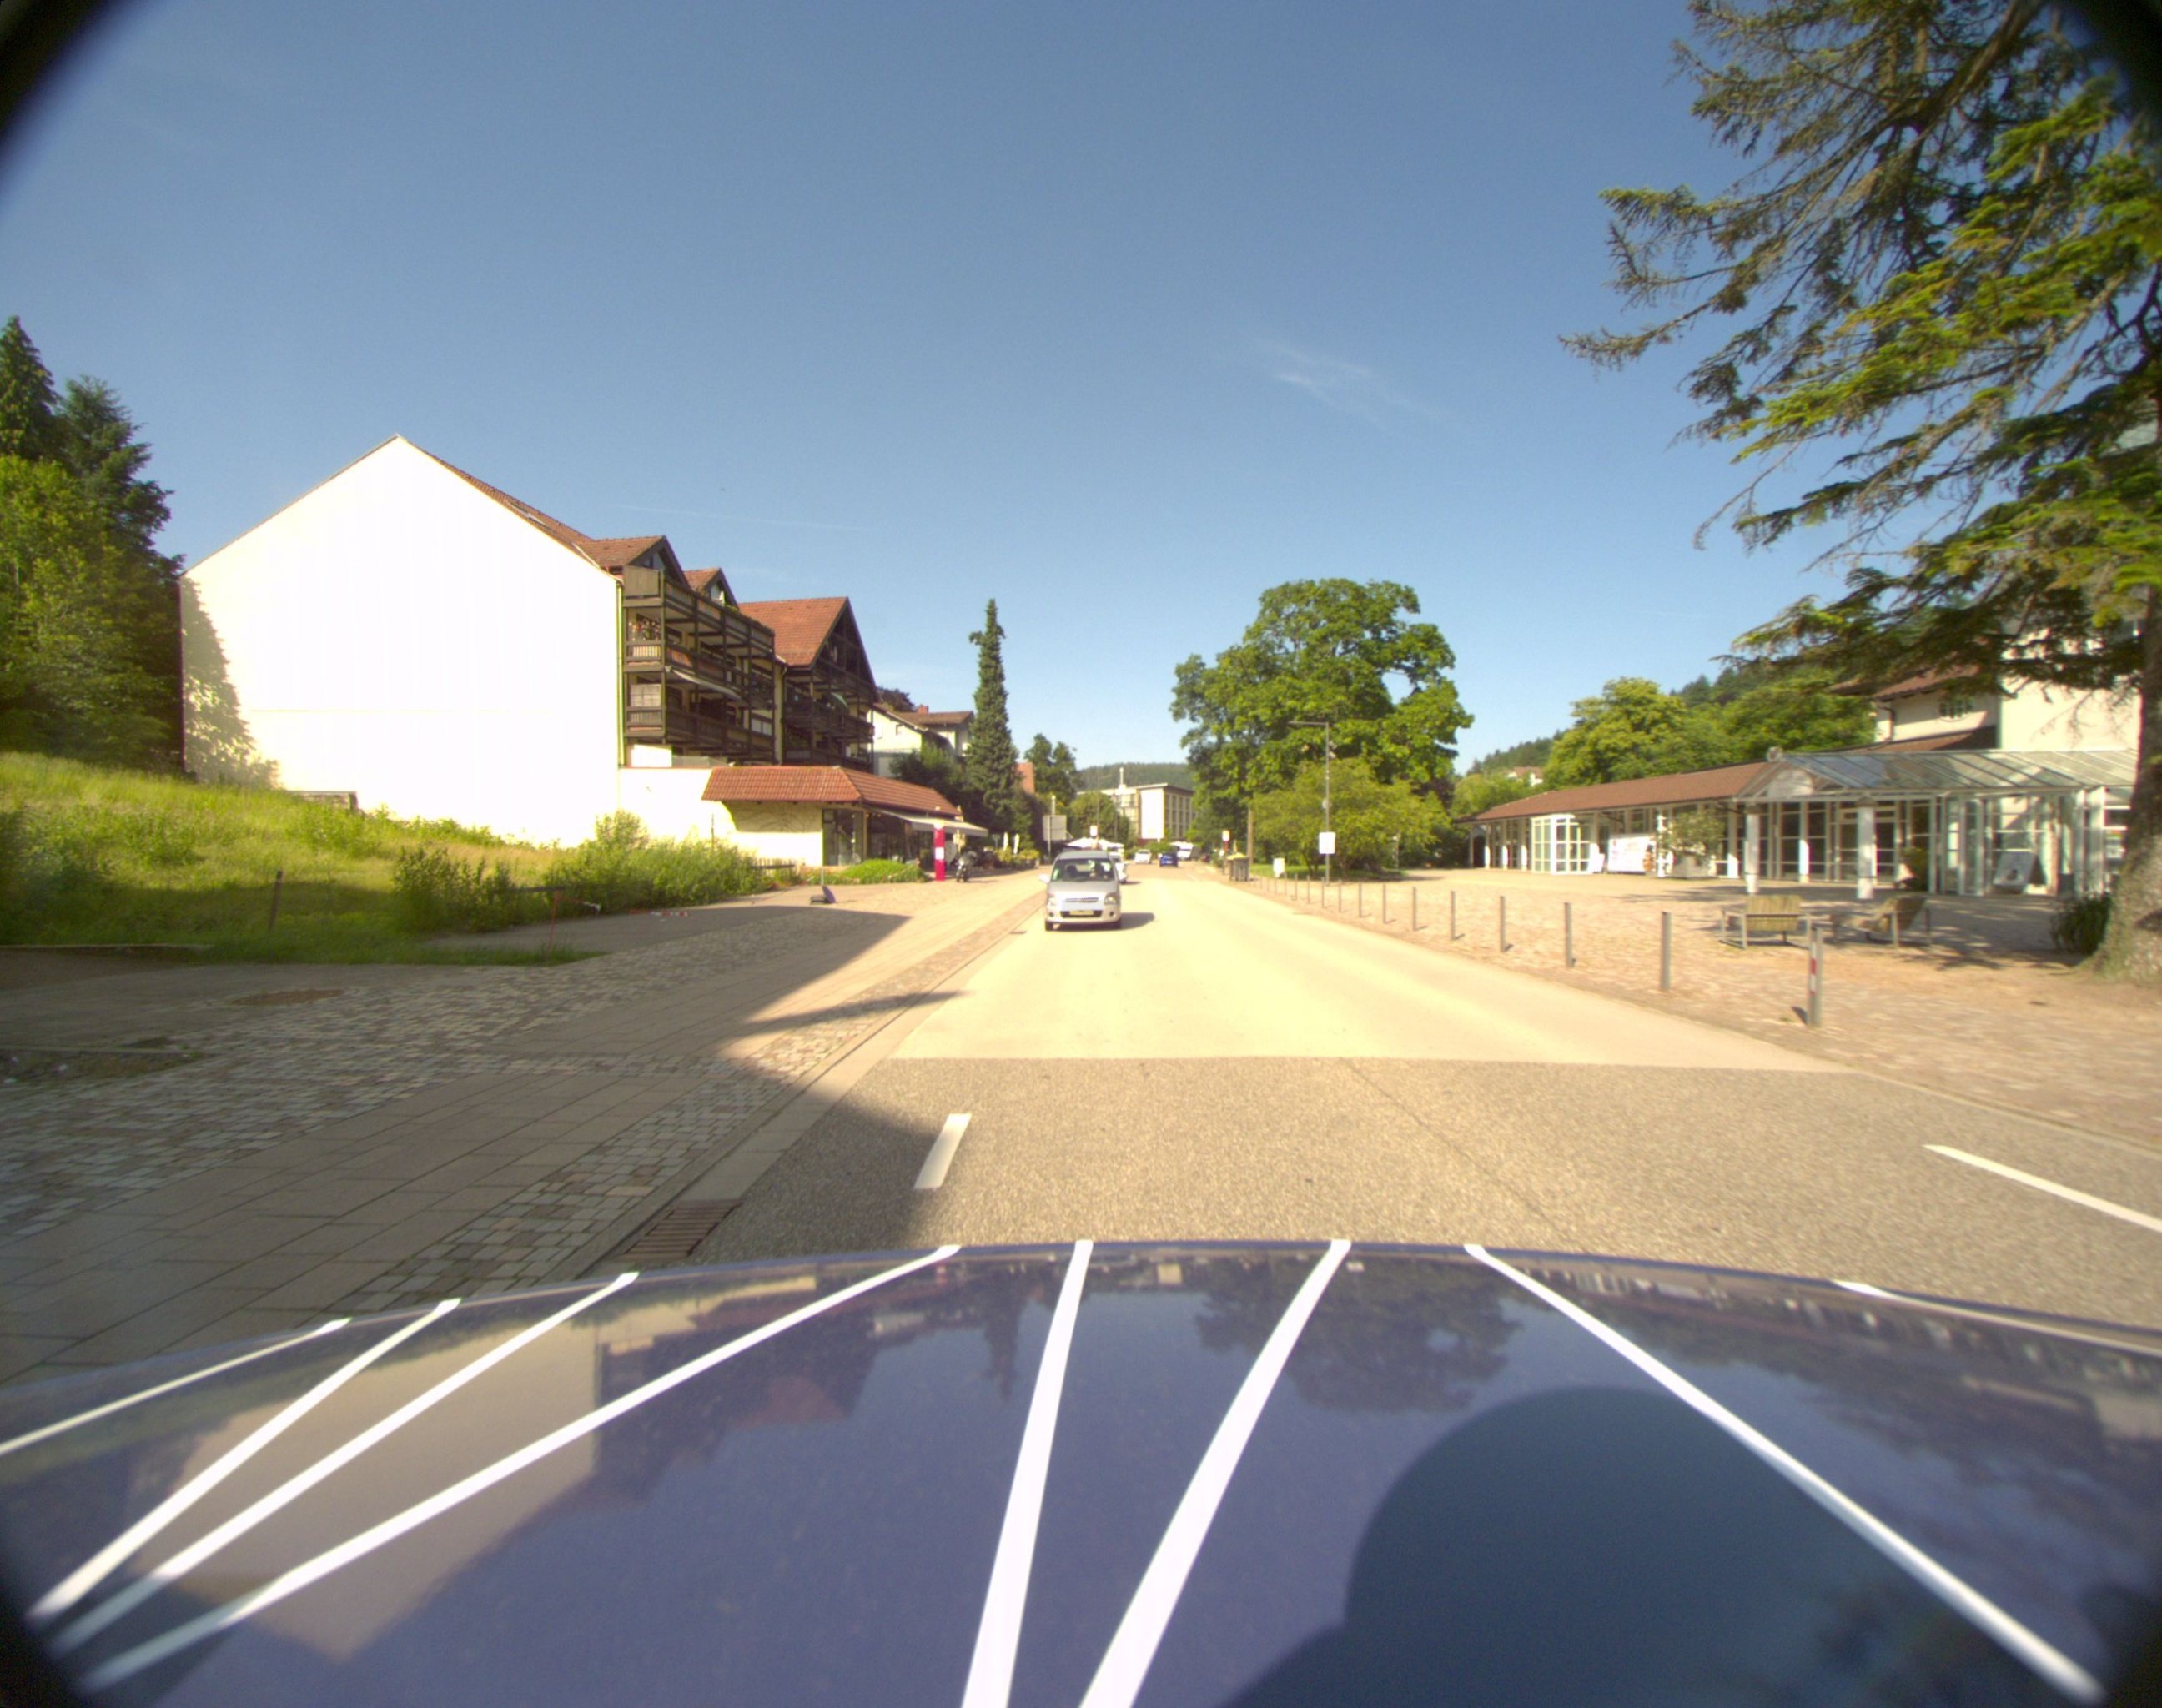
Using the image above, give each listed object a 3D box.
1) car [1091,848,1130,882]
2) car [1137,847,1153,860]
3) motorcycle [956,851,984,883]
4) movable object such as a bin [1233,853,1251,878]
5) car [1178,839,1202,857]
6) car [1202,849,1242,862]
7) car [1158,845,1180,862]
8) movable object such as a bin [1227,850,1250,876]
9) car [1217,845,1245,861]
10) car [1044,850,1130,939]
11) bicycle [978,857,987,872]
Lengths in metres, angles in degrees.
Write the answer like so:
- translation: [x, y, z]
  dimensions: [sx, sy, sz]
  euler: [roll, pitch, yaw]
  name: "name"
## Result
- translation: [1.364, 0.500, 35.966]
  dimensions: [1.740, 1.488, 3.929]
  euler: [0, 0, 1]
  name: "car"
- translation: [7.421, -0.050, 88.158]
  dimensions: [1.653, 1.462, 4.002]
  euler: [-2, 0, 6]
  name: "car"
- translation: [-4.713, 0.518, 32.443]
  dimensions: [0.698, 1.289, 2.212]
  euler: [3, 1, 4]
  name: "motorcycle"
- translation: [8.802, 0.614, 41.553]
  dimensions: [0.756, 1.334, 1.295]
  euler: [-2, 0, 5]
  name: "movable object such as a bin"
- translation: [17.445, -0.915, 121.178]
  dimensions: [1.785, 2.775, 5.924]
  euler: [-1, 0, 28]
  name: "car"
- translation: [16.389, 0.167, 88.465]
  dimensions: [4.286, 1.423, 1.713]
  euler: [-2, 1, 2]
  name: "car"
- translation: [8.383, -0.033, 72.569]
  dimensions: [1.745, 1.454, 4.187]
  euler: [2, 1, 3]
  name: "car"
- translation: [8.979, 0.491, 43.463]
  dimensions: [1.081, 1.419, 1.377]
  euler: [-2, 0, 5]
  name: "movable object such as a bin"
- translation: [15.555, -0.126, 78.741]
  dimensions: [2.655, 1.538, 1.684]
  euler: [-2, 1, 14]
  name: "car"
- translation: [0.093, 0.792, 16.982]
  dimensions: [1.605, 1.628, 3.999]
  euler: [-3, 1, -1]
  name: "car"
- translation: [-6.151, 0.674, 47.518]
  dimensions: [0.397, 0.837, 1.613]
  euler: [-1, 3, -14]
  name: "bicycle"
